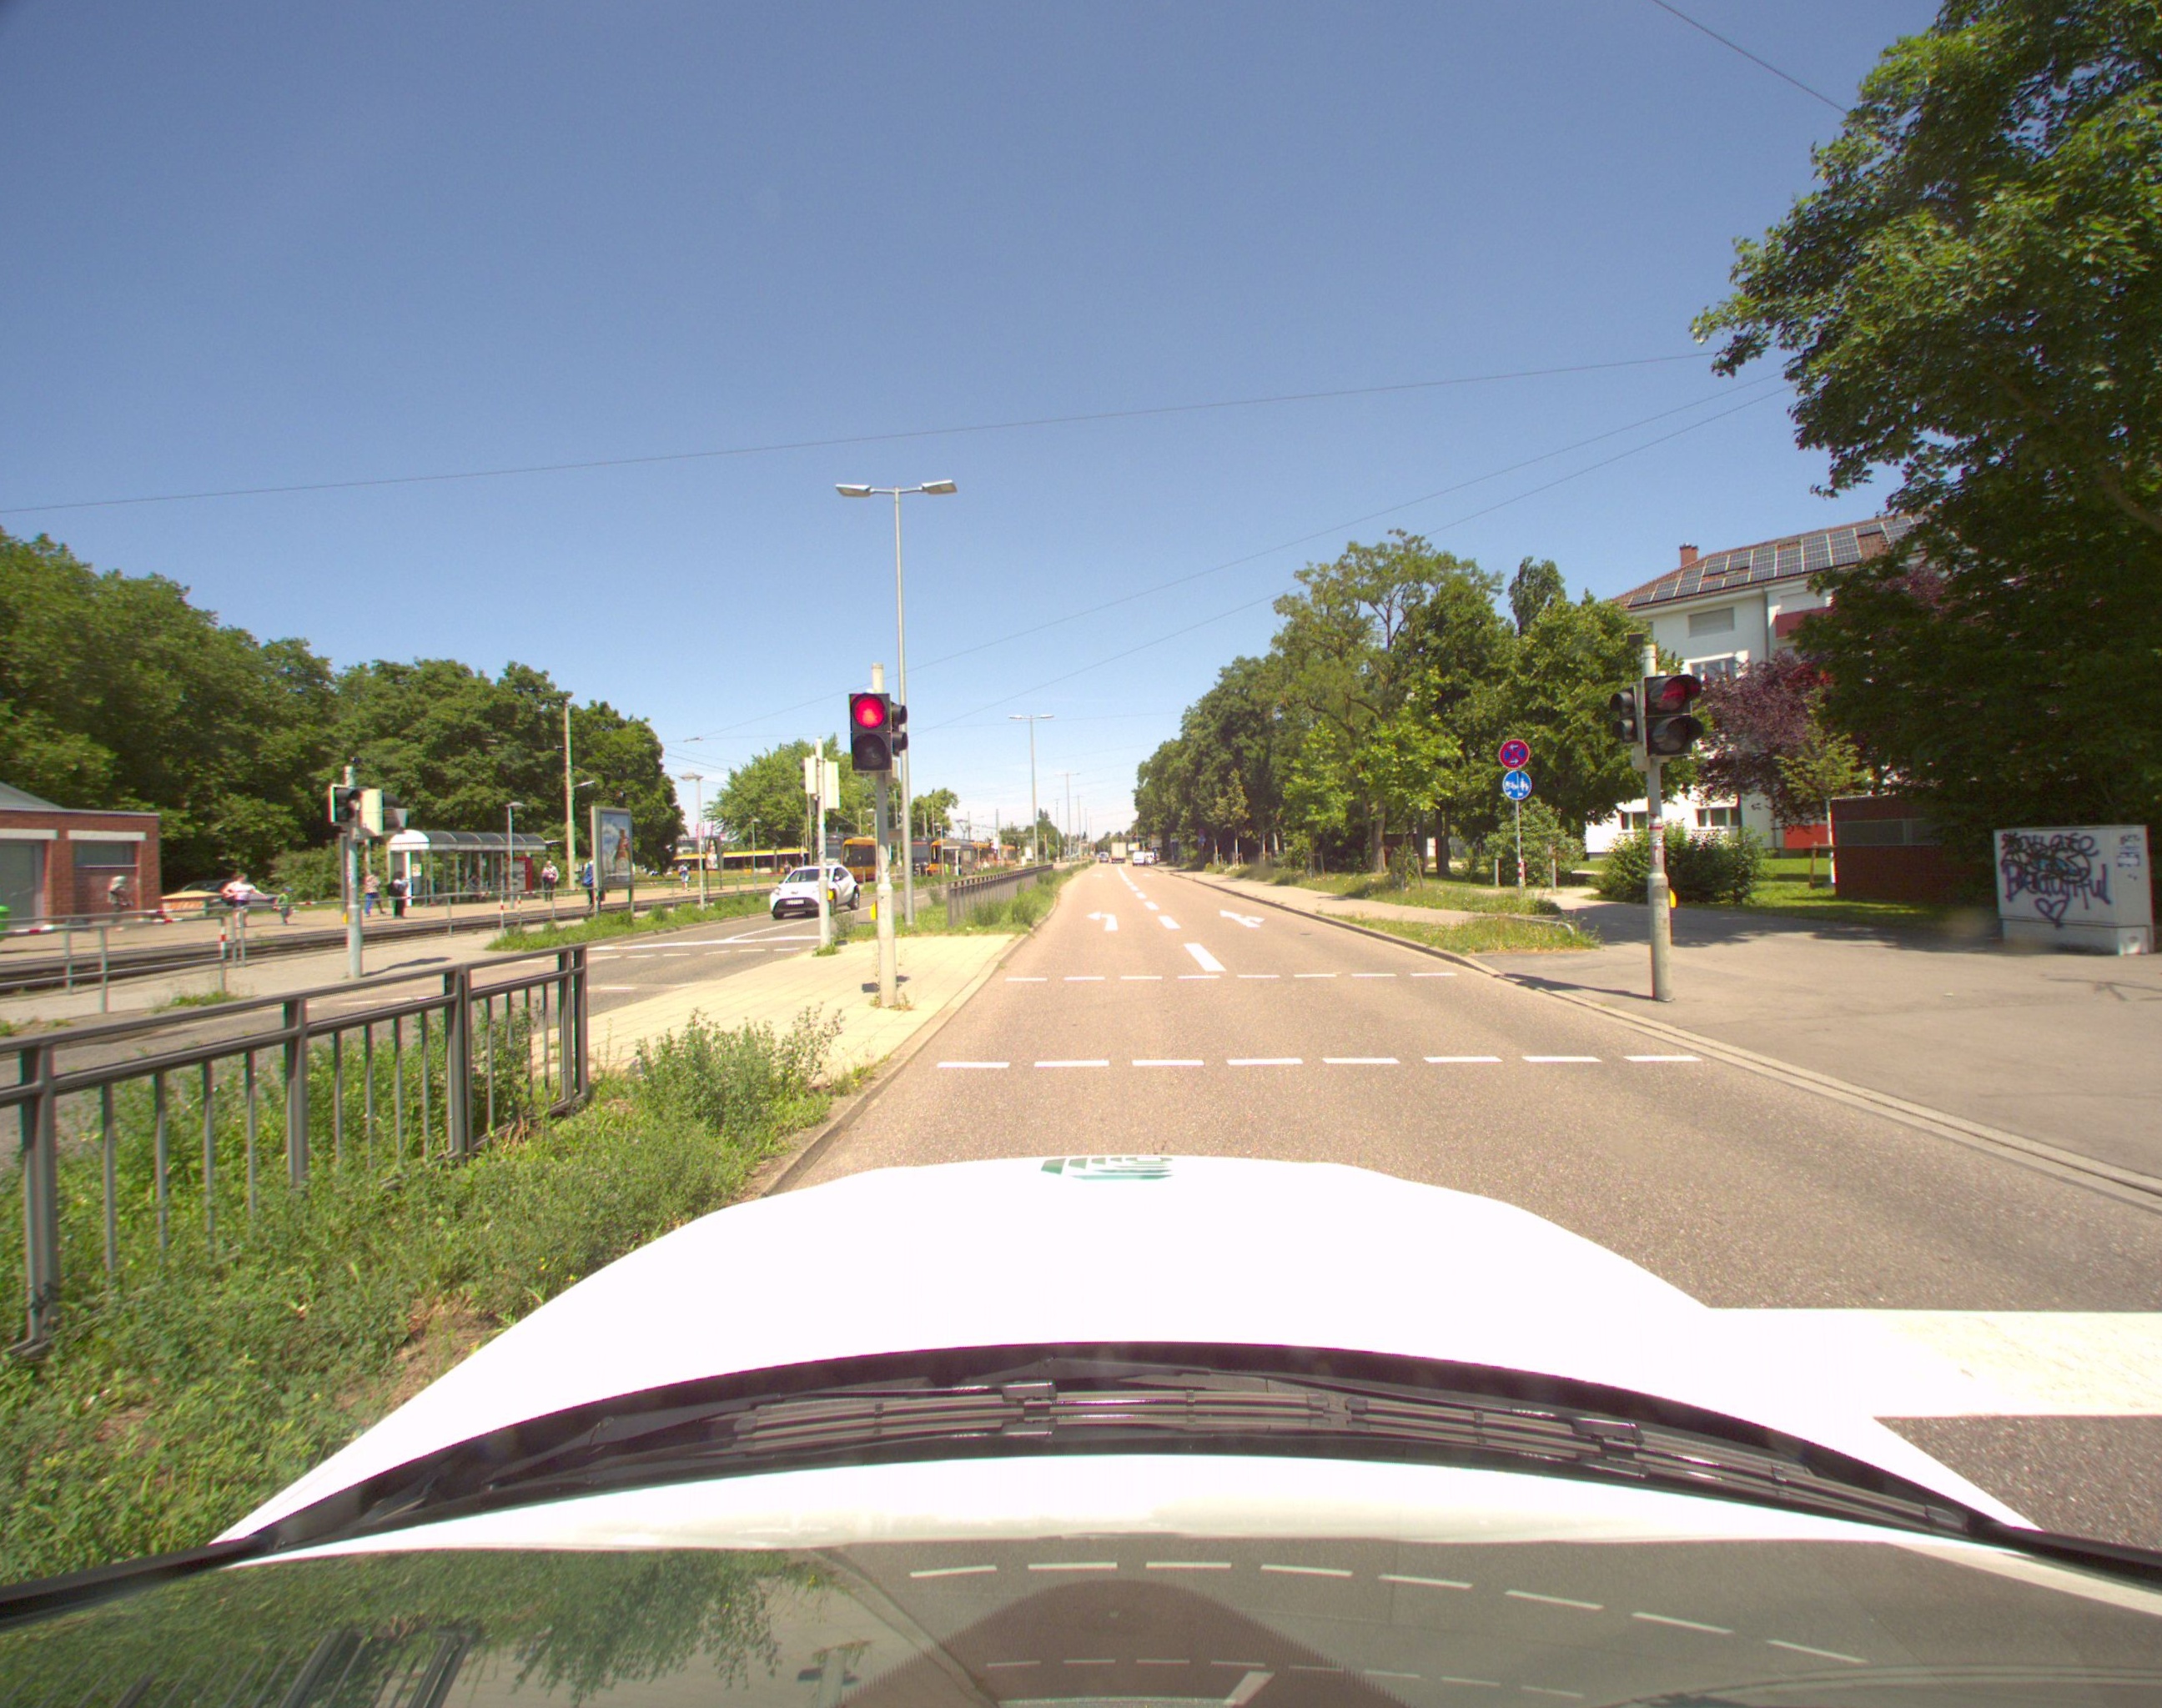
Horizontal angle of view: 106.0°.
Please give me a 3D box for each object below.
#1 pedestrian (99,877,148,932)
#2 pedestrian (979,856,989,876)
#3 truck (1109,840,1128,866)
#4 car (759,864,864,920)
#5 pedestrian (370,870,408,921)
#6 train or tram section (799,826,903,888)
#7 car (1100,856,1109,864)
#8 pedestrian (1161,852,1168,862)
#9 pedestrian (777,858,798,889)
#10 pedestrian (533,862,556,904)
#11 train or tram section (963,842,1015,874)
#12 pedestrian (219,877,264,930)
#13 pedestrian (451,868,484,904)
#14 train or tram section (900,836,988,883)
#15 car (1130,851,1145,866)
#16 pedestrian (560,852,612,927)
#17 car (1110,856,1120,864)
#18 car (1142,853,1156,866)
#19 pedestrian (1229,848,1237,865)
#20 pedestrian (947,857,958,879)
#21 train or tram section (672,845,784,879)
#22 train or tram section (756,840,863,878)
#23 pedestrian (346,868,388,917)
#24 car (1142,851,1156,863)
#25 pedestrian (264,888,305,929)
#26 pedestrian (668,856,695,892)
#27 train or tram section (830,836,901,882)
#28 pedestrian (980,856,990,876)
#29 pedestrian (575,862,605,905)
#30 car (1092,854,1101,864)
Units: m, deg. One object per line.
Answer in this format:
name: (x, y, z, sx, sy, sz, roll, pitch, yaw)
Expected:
pedestrian: (-26.547, 1.389, 22.585, 0.636, 1.480, 0.570, -2, 0, 1)
pedestrian: (-10.135, 1.256, 85.369, 0.812, 2.013, 0.939, -2, 0, 1)
truck: (6.767, -0.163, 146.140, 3.193, 4.359, 6.563, -2, 0, 2)
car: (-8.148, 1.098, 24.997, 1.838, 1.494, 3.793, -2, 0, 2)
pedestrian: (-21.669, 1.288, 25.513, 0.635, 1.555, 0.691, -2, 0, -11)
train or tram section: (-16.956, 0.243, 62.055, 3.207, 3.931, 18.484, -2, 0, -2)
car: (4.554, 1.178, 158.008, 1.804, 1.464, 4.002, -2, 0, 2)
pedestrian: (16.726, 0.599, 163.130, 1.180, 2.013, 1.214, -2, 0, 1)
pedestrian: (-19.560, 1.301, 54.304, 0.977, 2.013, 1.021, -2, 0, 1)
pedestrian: (-23.973, 1.291, 36.411, 0.725, 1.800, 0.835, -1, -1, -41)
train or tram section: (-12.263, 0.506, 113.306, 2.921, 3.789, 33.091, -2, 0, 1)
pedestrian: (-23.764, 1.394, 23.065, 0.636, 1.456, 0.583, -2, 0, 1)
pedestrian: (-26.287, 1.374, 34.899, 0.836, 1.511, 0.723, -2, 0, 12)
train or tram section: (-12.930, 0.444, 81.744, 2.947, 3.749, 30.041, -2, 0, 2)
car: (7.293, 0.567, 105.542, 1.773, 1.903, 4.002, -2, 0, 2)
pedestrian: (-12.312, 0.871, 20.278, 0.715, 1.777, 0.843, 3, 2, 1)
car: (6.482, 1.151, 153.691, 1.804, 1.464, 4.002, -2, 0, 2)
car: (9.382, 0.724, 112.424, 1.773, 1.668, 4.002, -2, 0, 2)
pedestrian: (12.671, 0.191, 67.713, 0.600, 1.438, 0.557, -2, 0, 8)
pedestrian: (-10.983, 1.204, 69.732, 0.783, 1.868, 0.818, -2, 0, 1)
train or tram section: (-45.113, 1.069, 103.431, 18.260, 3.931, 3.247, -2, 0, 32)
train or tram section: (-31.183, 0.683, 92.541, 18.266, 3.931, 3.246, -2, 0, 43)
pedestrian: (-23.895, 1.287, 27.261, 0.669, 1.590, 0.808, -2, 0, 1)
car: (9.903, 0.466, 118.765, 1.773, 1.668, 4.002, -2, 0, 2)
pedestrian: (-23.309, 1.586, 23.838, 0.636, 1.124, 0.570, -2, 0, 1)
pedestrian: (-22.946, 1.144, 46.843, 0.977, 2.013, 1.021, -2, 0, 1)
train or tram section: (-21.115, 0.536, 78.486, 3.232, 3.931, 18.344, -1, 0, -25)
pedestrian: (-9.914, 1.243, 84.069, 0.812, 2.013, 0.939, -2, 0, 1)
pedestrian: (-21.219, 1.252, 35.187, 0.715, 1.777, 0.843, 3, 2, 1)
car: (3.322, 1.104, 175.335, 1.986, 2.013, 4.002, -2, 0, 2)
